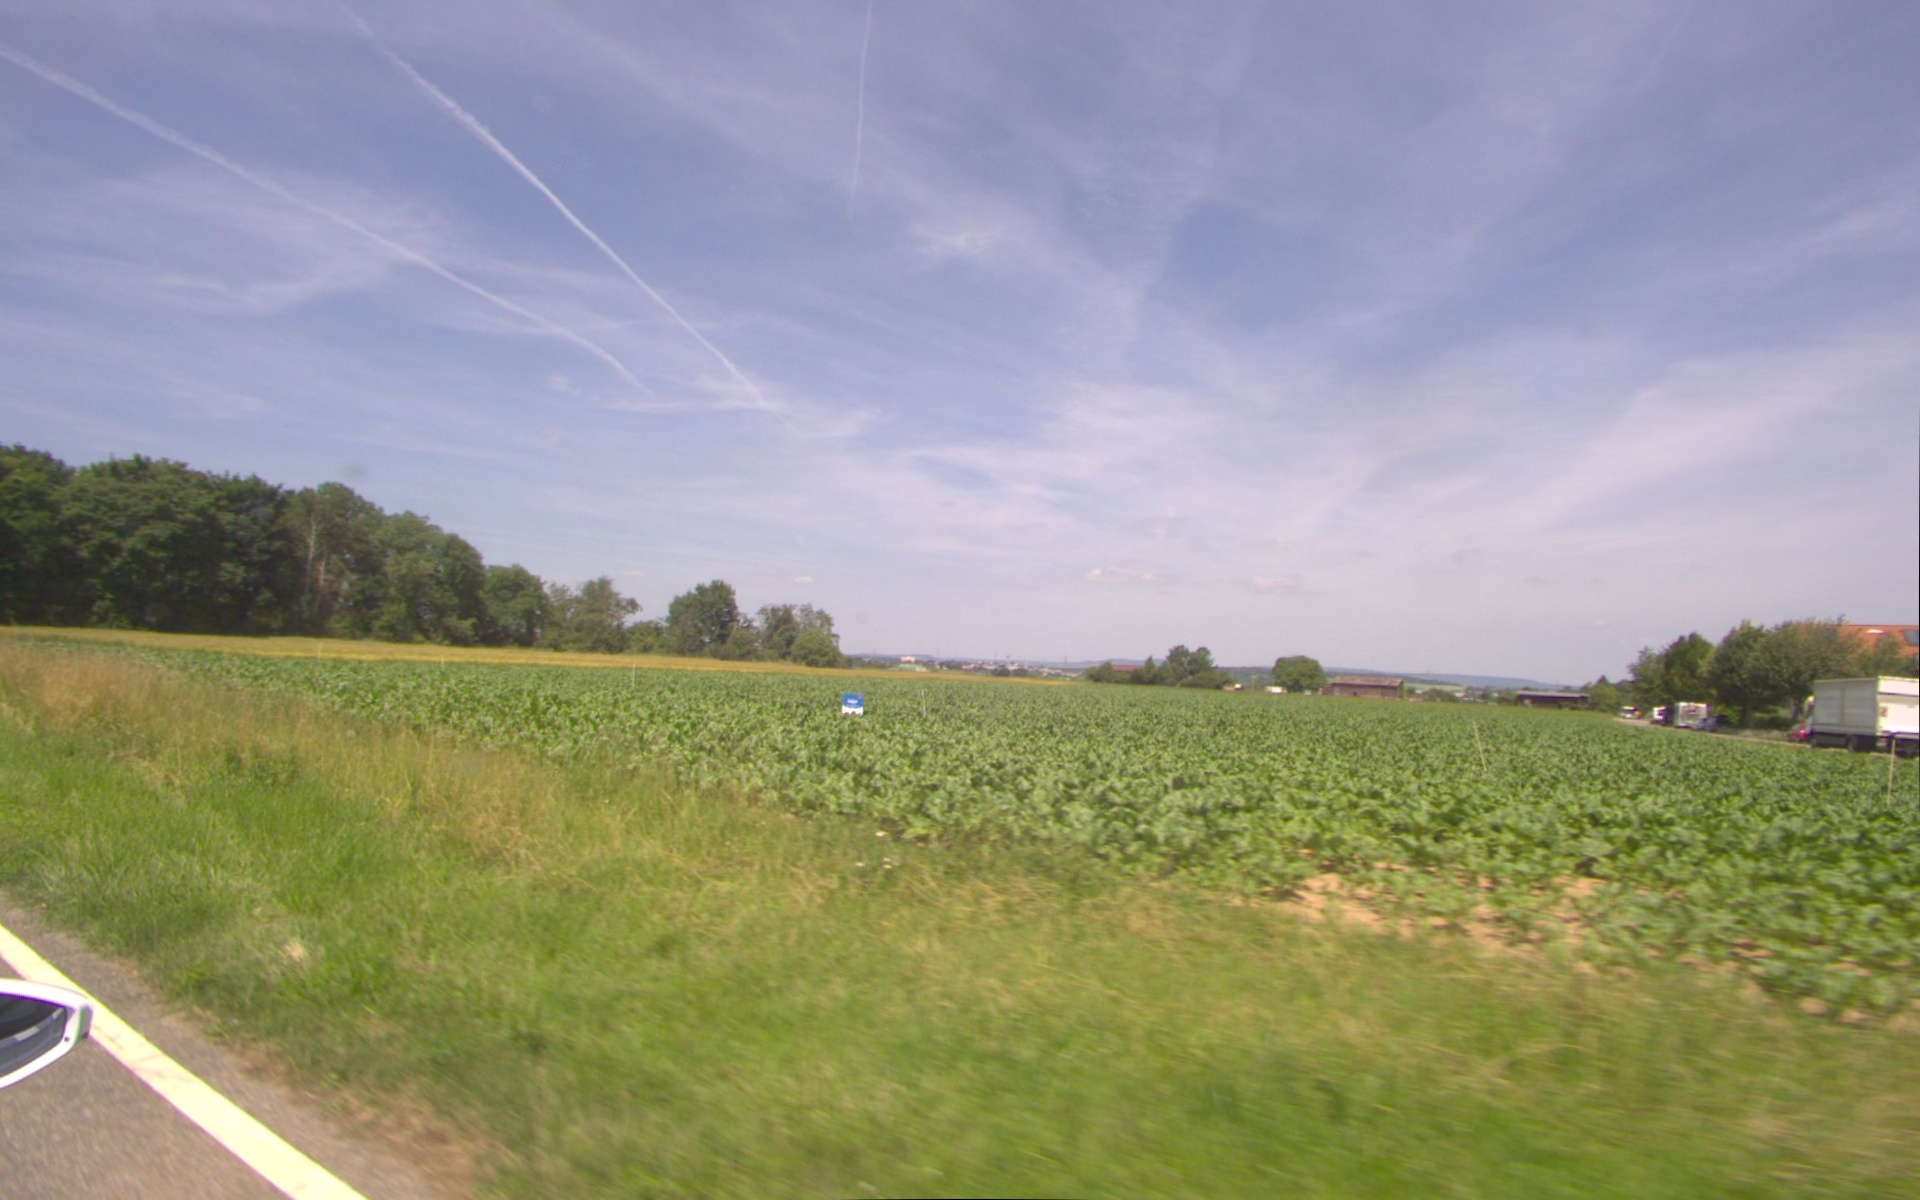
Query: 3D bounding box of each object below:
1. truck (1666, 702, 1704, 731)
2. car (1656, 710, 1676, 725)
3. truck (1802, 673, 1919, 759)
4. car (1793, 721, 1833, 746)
[{"bbox_3d":[79.347,12.686,109.682,2.071,2.922,6.767,2,-5,25],"label":"truck"},{"bbox_3d":[87.262,14.474,123.839,1.395,1.681,3.231,2,-5,25],"label":"car"},{"bbox_3d":[44.540,5.657,48.785,2.729,3.714,9.370,3,-4,24],"label":"truck"},{"bbox_3d":[59.256,9.256,69.609,1.500,1.403,3.471,1,-2,31],"label":"car"}]
